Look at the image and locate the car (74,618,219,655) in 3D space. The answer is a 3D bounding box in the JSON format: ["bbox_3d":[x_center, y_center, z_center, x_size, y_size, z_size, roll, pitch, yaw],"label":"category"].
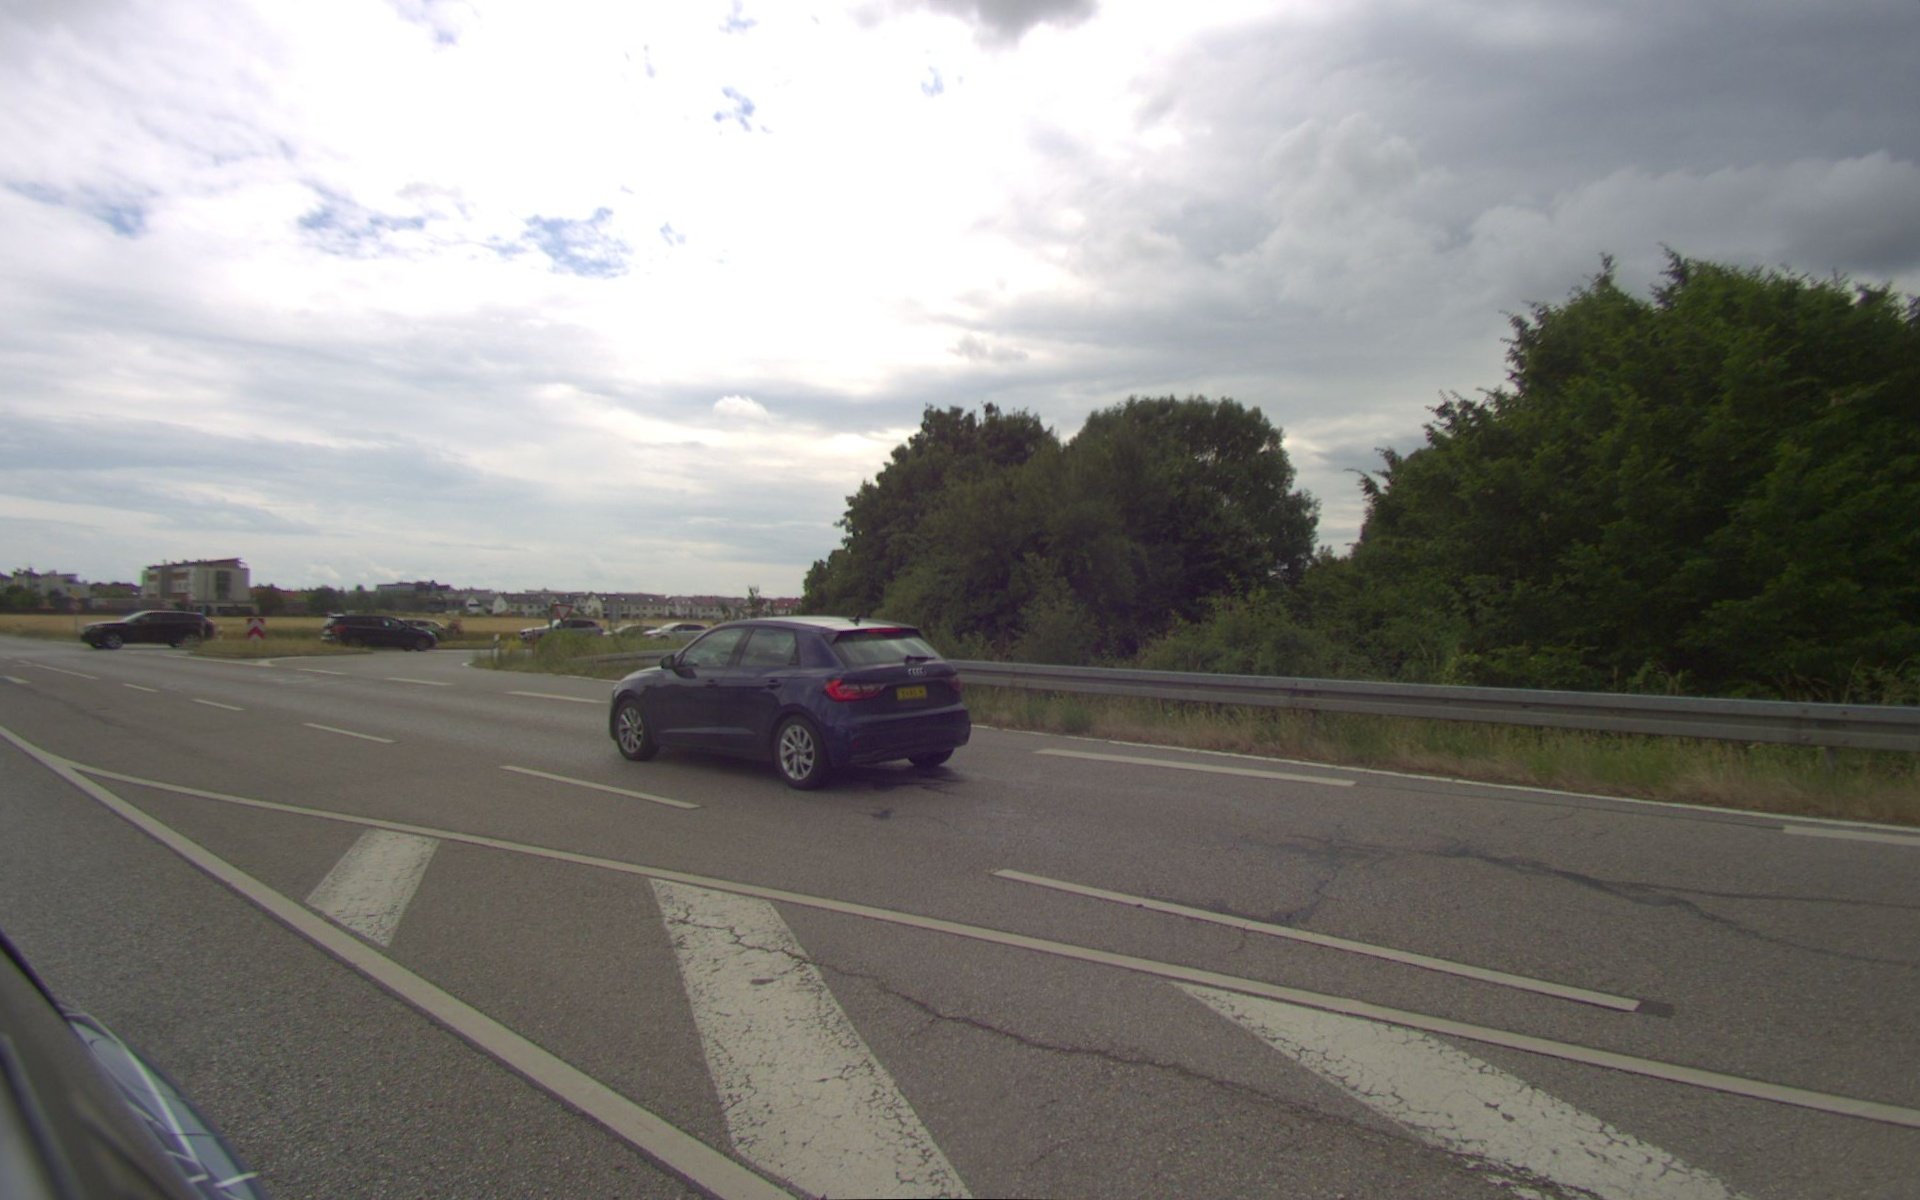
[{"bbox_3d":[-36.165,1.588,45.097,1.907,1.543,4.697,-1,-2,36],"label":"car"}]

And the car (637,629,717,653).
[{"bbox_3d":[-17.782,2.557,63.744,4.437,1.493,1.913,2,-2,-42],"label":"car"}]

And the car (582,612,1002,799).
[{"bbox_3d":[-1.724,0.831,9.574,3.999,1.387,1.842,-2,-1,42],"label":"car"}]

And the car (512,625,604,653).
[{"bbox_3d":[-23.264,2.254,58.696,4.568,1.528,1.913,2,-2,-42],"label":"car"}]

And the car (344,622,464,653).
[{"bbox_3d":[-29.202,1.948,53.225,5.221,1.533,1.913,2,-2,-42],"label":"car"}]

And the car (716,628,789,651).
[{"bbox_3d":[-13.846,2.634,67.596,4.437,1.493,1.913,2,-2,-42],"label":"car"}]

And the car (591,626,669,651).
[{"bbox_3d":[-20.850,2.405,64.027,4.344,1.493,1.913,2,-2,-42],"label":"car"}]

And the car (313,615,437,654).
[{"bbox_3d":[-25.787,1.531,44.750,1.708,1.623,4.417,-1,-3,44],"label":"car"}]
